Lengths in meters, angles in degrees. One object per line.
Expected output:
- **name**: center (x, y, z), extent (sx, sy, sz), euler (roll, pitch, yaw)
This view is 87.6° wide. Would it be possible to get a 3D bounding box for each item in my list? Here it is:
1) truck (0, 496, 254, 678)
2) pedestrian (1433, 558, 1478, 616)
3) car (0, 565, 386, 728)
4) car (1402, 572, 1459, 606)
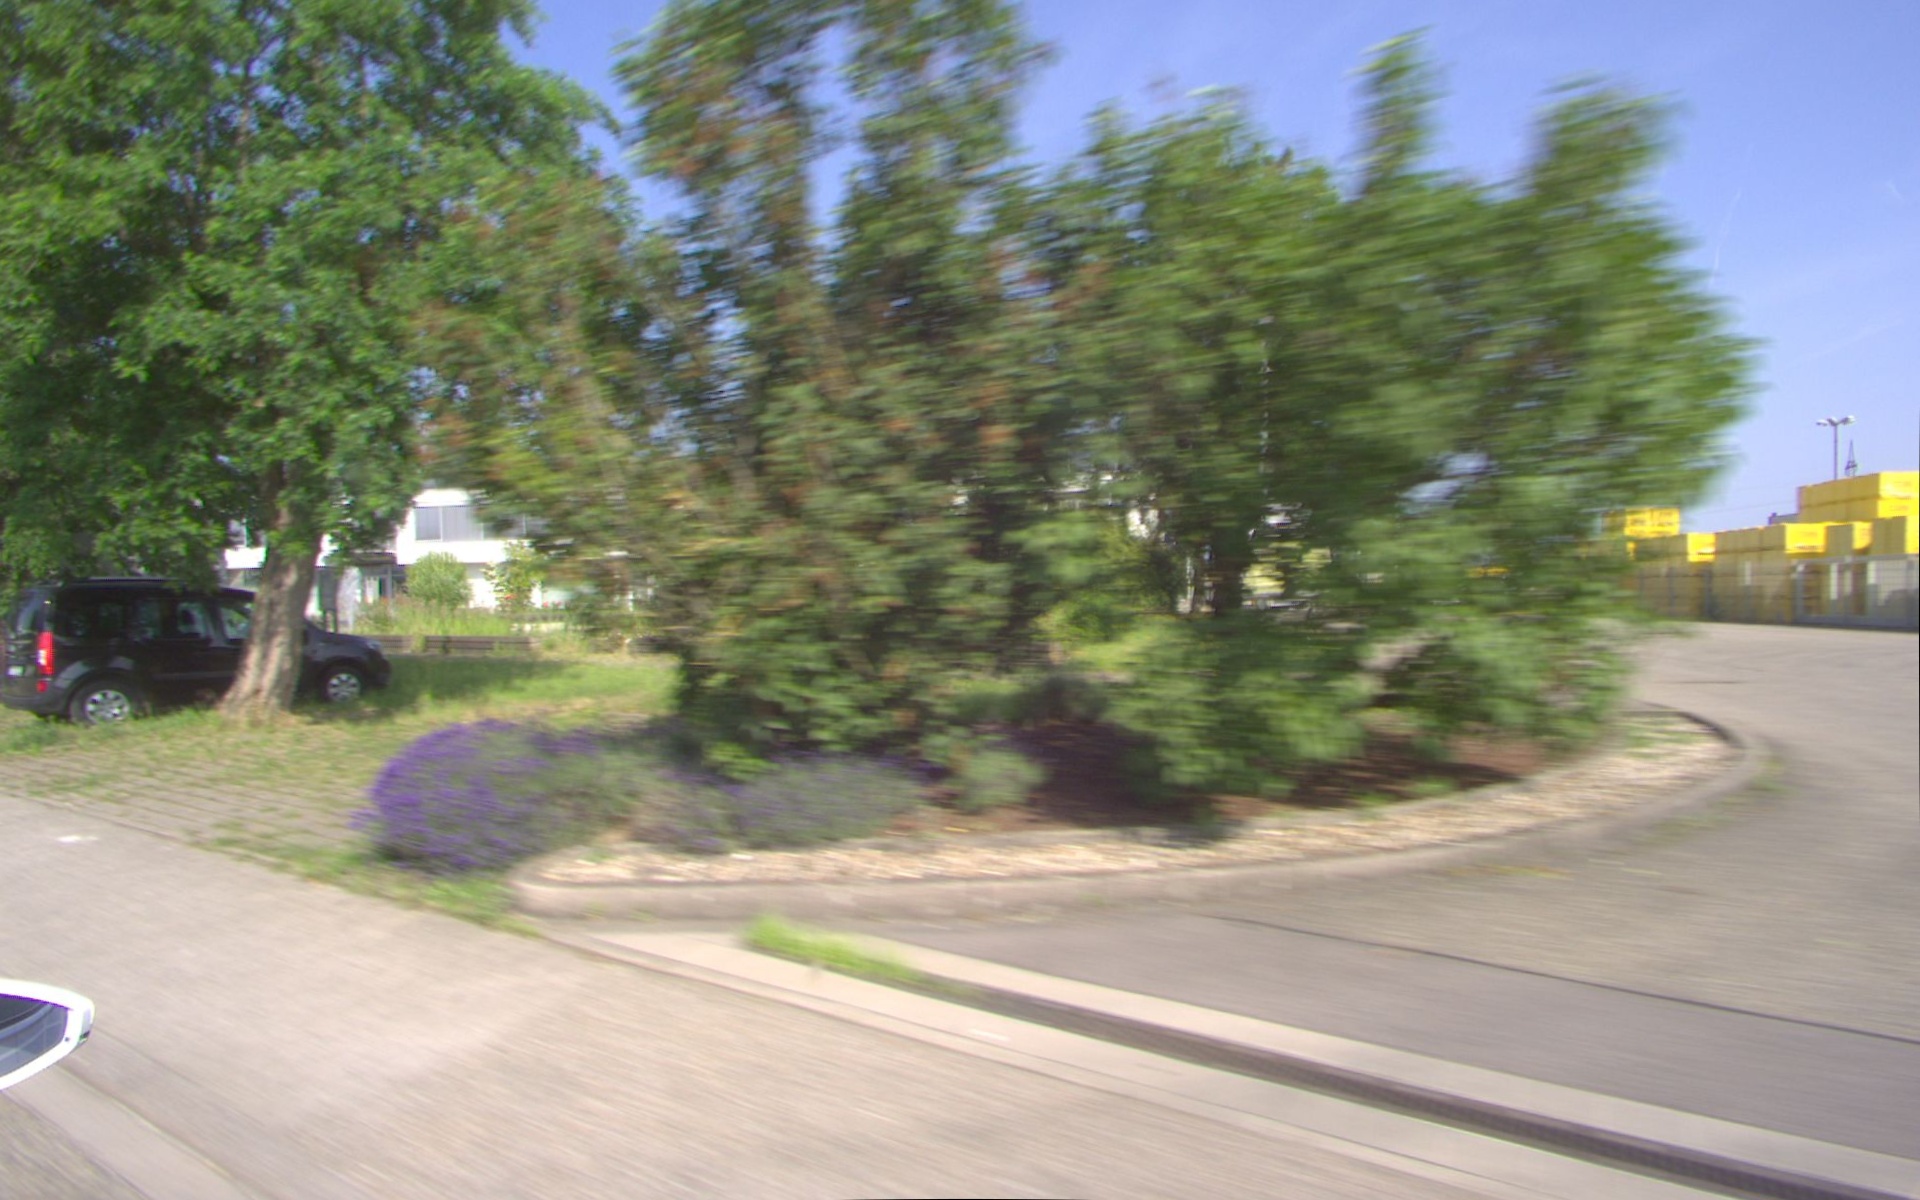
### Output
- **truck**: center (-19.079, -0.206, 19.548), extent (2.702, 3.415, 8.190), euler (-1, 1, 32)
- **pedestrian**: center (17.991, -0.445, 36.353), extent (0.970, 2.039, 1.153), euler (0, -2, -38)
- **car**: center (-10.396, 0.513, 13.650), extent (1.972, 1.862, 3.976), euler (0, 1, 34)
- **car**: center (24.009, -0.522, 51.243), extent (1.695, 1.527, 3.999), euler (-1, -2, 11)
